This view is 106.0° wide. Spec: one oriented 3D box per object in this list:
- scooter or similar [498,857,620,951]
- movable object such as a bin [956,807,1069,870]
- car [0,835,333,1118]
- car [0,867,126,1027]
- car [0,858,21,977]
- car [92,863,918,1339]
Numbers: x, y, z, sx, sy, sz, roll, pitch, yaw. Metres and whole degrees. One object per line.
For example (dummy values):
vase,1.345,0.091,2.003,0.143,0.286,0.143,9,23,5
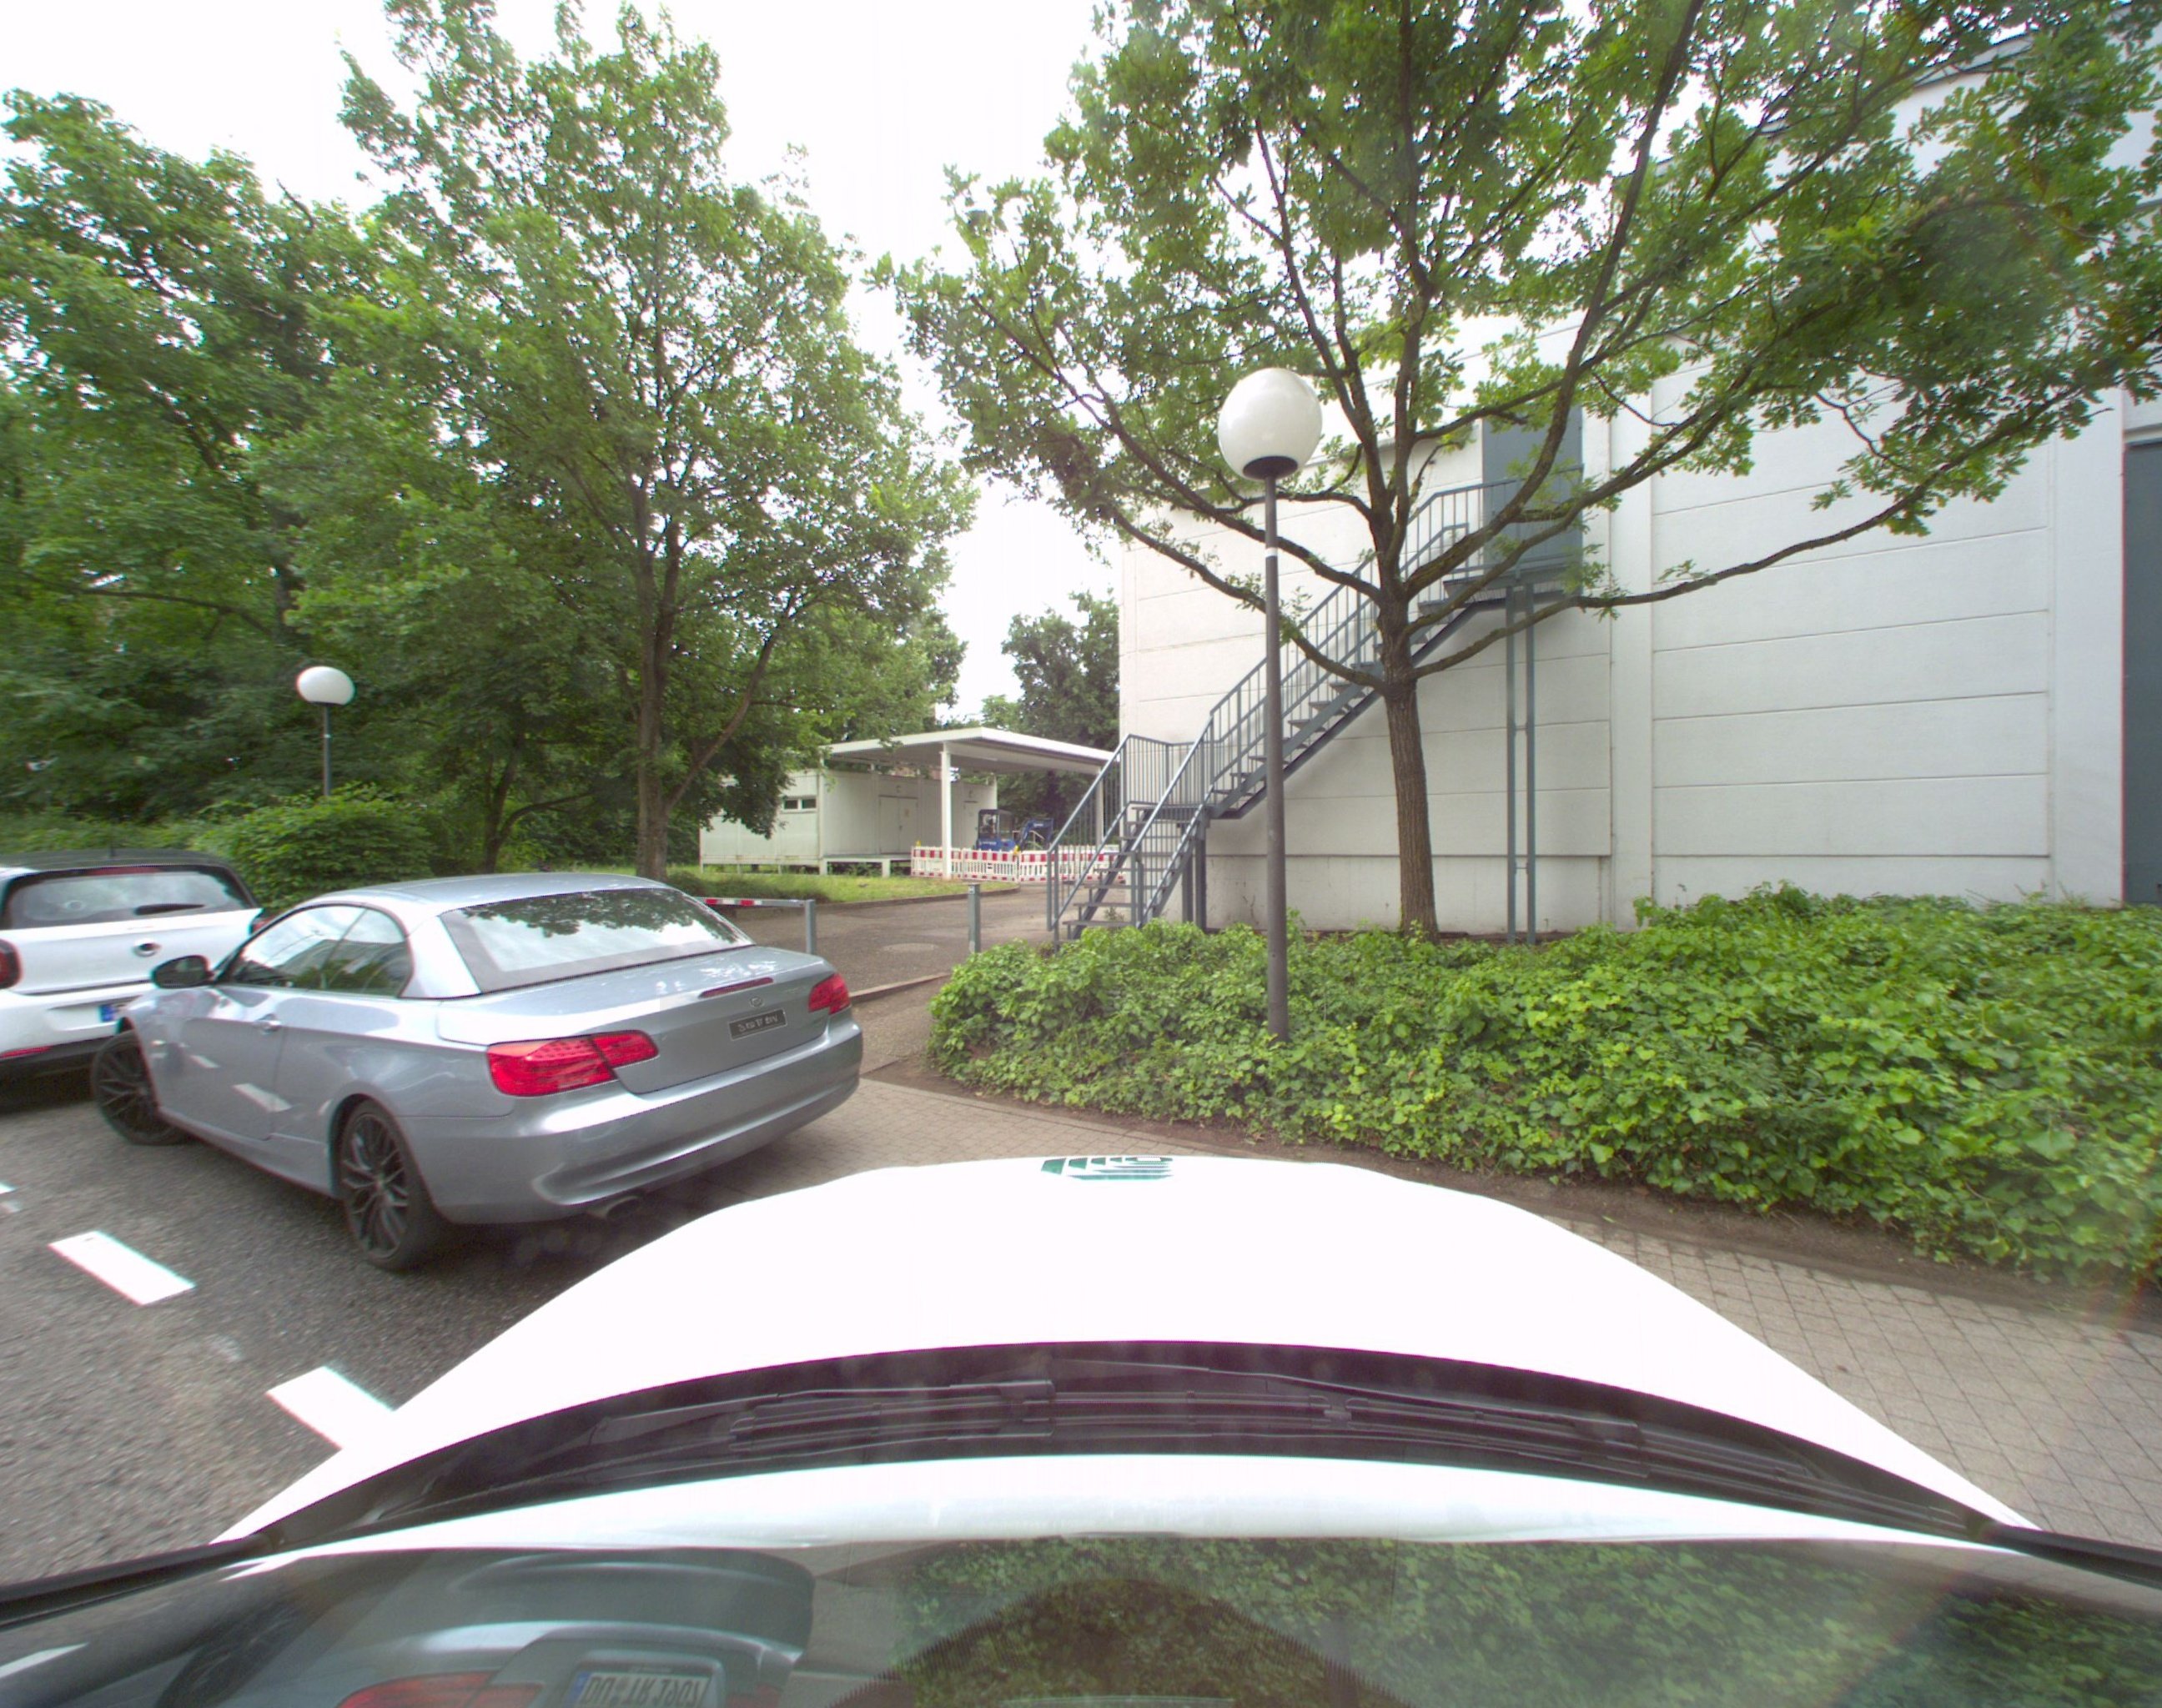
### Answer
scooter or similar,-7.130,0.667,11.169,1.306,1.210,0.448,-1,1,-19
movable object such as a bin,-2.453,-0.533,30.478,1.975,2.171,4.698,0,0,28
car,-7.457,0.704,6.020,3.828,1.586,1.732,-1,1,30
car,-11.515,0.868,8.152,3.957,1.411,1.780,-1,1,29
car,-15.455,0.798,10.470,3.776,1.471,1.778,0,0,31
car,-3.090,0.770,4.254,4.141,1.388,1.835,0,1,28
